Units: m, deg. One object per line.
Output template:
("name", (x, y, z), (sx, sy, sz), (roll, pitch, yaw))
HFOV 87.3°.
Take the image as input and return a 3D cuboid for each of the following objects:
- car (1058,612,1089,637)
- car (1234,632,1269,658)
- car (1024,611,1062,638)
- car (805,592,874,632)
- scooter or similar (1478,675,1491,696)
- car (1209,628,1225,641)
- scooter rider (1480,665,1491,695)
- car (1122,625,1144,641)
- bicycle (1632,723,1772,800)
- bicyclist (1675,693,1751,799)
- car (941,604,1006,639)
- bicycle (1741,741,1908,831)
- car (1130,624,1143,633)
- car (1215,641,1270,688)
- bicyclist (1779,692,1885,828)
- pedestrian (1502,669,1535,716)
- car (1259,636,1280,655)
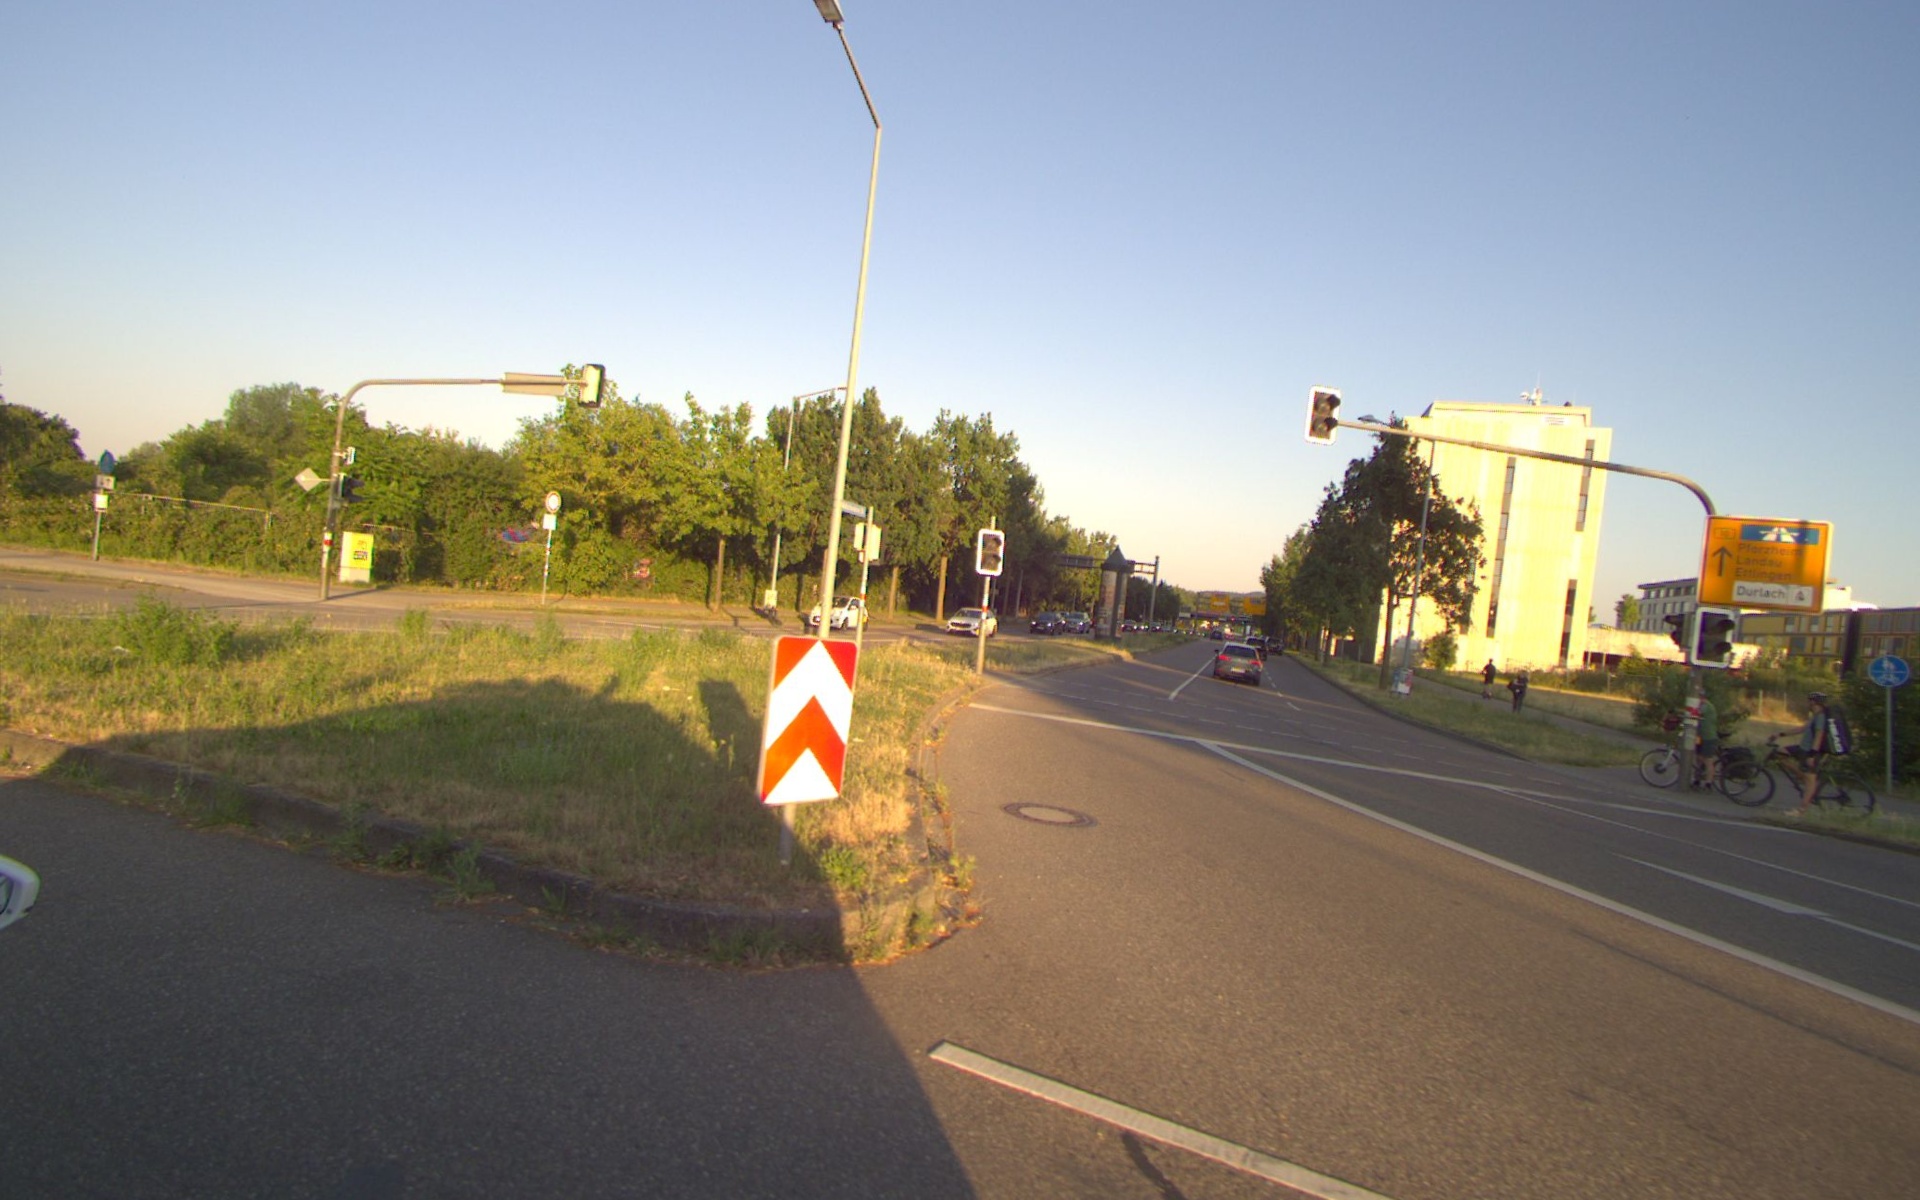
("car", (9.664, 2.102, 85.159), (1.886, 1.776, 4.924), (6, -1, 13))
("car", (21.070, 3.239, 72.844), (1.783, 1.544, 4.135), (7, 1, 9))
("car", (5.990, 1.777, 72.303), (1.769, 1.653, 4.458), (6, -1, 15))
("car", (-5.160, 0.551, 43.427), (1.525, 1.461, 3.487), (6, -1, 18))
("scooter or similar", (24.794, 4.046, 47.567), (0.242, 0.925, 1.039), (7, 1, 18))
("car", (36.348, 4.861, 142.116), (1.962, 1.489, 4.001), (7, 0, 13))
("scooter rider", (24.825, 3.773, 47.528), (0.260, 1.356, 0.406), (7, 2, 18))
("car", (19.820, 3.767, 115.052), (1.811, 1.478, 4.583), (7, -1, 17))
("bicycle", (13.080, 2.834, 17.775), (1.891, 1.099, 0.457), (4, 1, 13))
("bicyclist", (13.270, 2.547, 17.739), (0.755, 1.724, 0.641), (5, 1, 12))
("car", (0.743, 1.137, 51.510), (1.696, 1.467, 4.547), (6, 0, 22))
("bicycle", (13.387, 2.869, 15.618), (1.891, 1.099, 0.457), (5, 1, 13))
("car", (28.401, 4.603, 161.433), (1.588, 1.325, 3.718), (6, -1, 16))
("car", (10.817, 2.396, 38.356), (1.718, 1.442, 4.134), (7, 1, 17))
("bicyclist", (13.502, 2.457, 15.602), (0.892, 1.922, 0.641), (5, 1, 12))
("pedestrian", (20.133, 3.338, 36.285), (0.781, 1.569, 0.567), (7, 1, 15))
("car", (28.591, 4.160, 92.983), (1.718, 1.507, 4.135), (7, 0, 17))
